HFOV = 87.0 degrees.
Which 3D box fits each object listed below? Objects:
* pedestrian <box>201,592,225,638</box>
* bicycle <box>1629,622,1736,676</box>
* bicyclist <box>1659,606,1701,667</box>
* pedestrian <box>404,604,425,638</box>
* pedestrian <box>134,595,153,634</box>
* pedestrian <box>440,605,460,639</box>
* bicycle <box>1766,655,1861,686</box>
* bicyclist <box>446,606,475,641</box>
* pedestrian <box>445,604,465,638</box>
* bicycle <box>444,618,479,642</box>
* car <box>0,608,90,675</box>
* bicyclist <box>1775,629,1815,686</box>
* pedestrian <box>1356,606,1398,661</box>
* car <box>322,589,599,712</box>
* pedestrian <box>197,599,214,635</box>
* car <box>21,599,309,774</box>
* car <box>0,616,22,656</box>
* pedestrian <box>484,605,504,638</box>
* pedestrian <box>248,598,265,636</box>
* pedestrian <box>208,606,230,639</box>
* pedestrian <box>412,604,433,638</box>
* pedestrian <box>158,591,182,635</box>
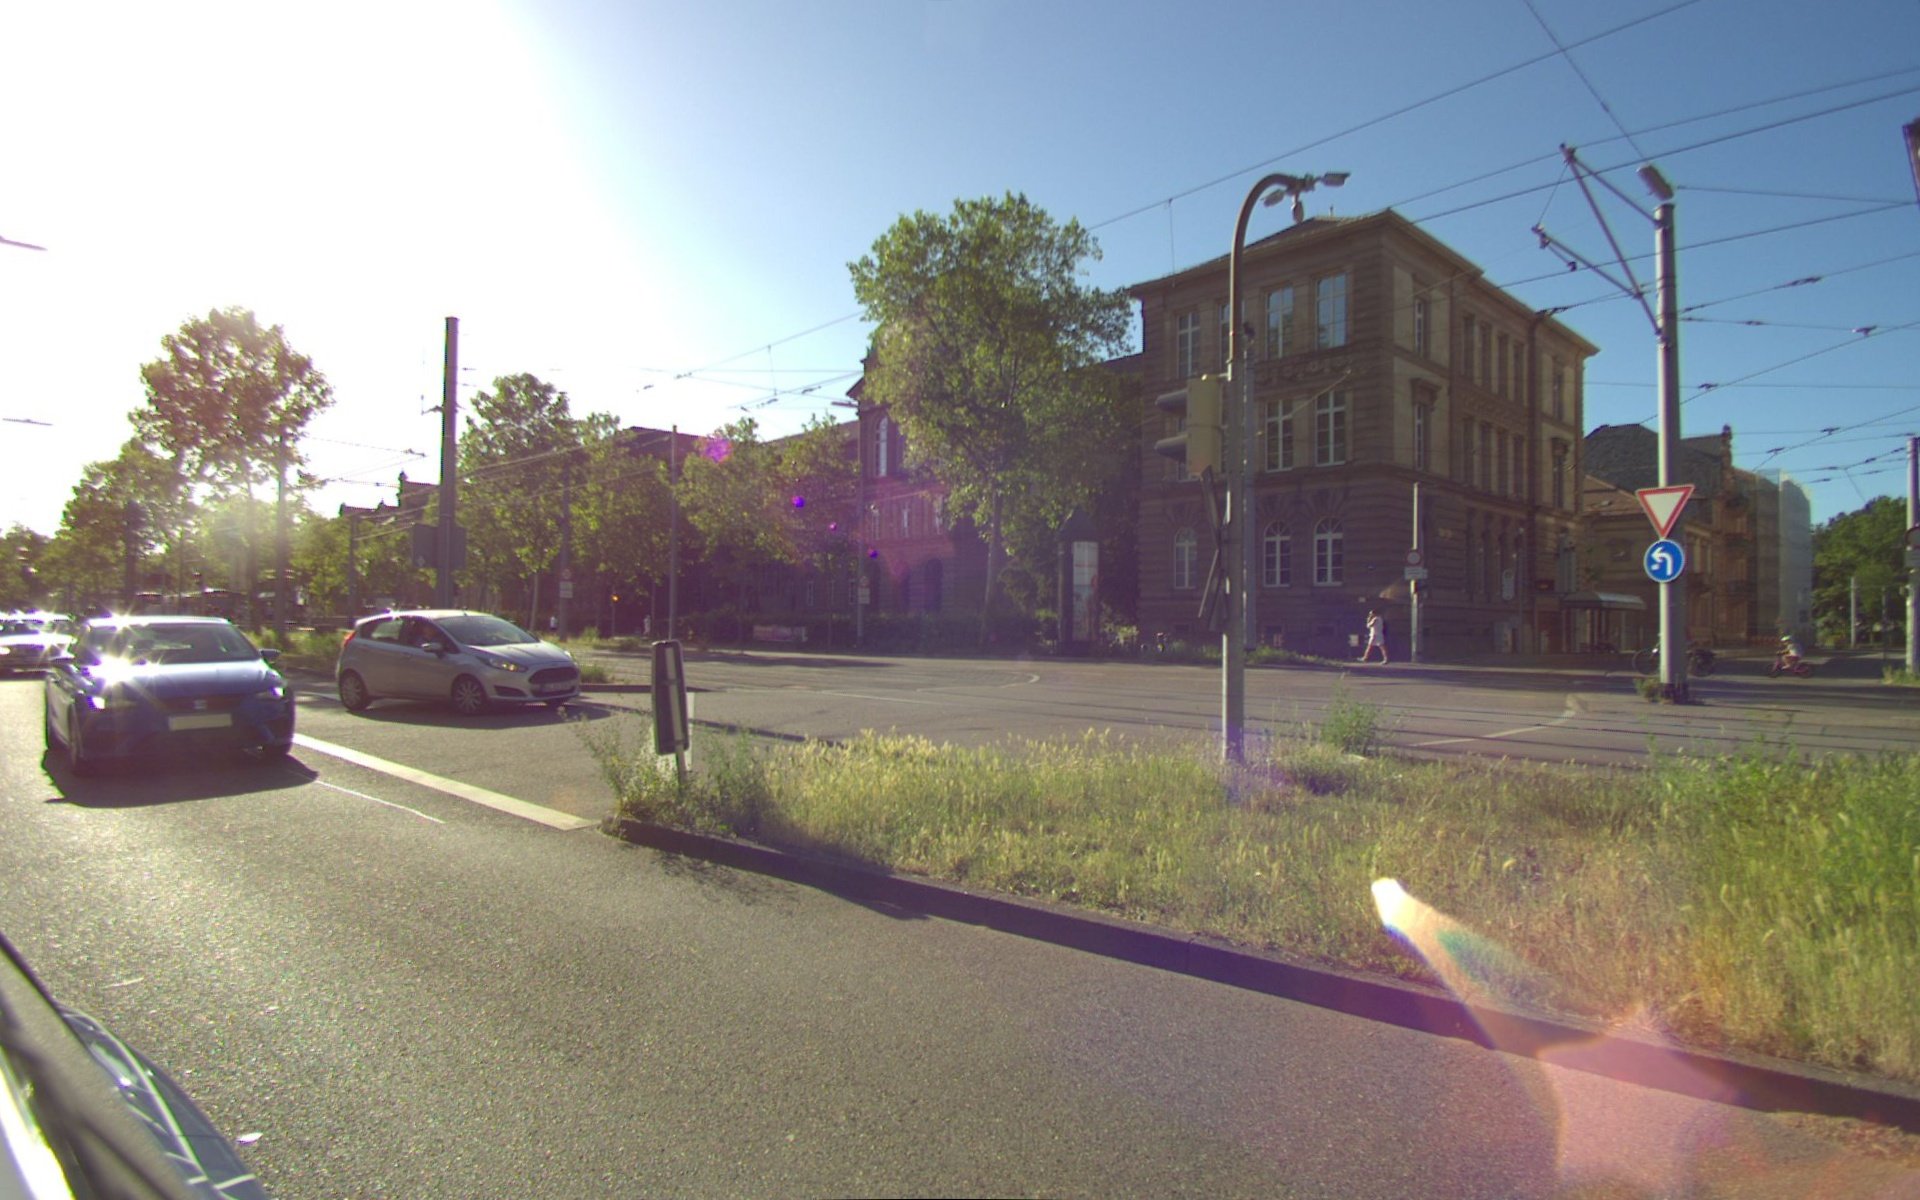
[{"bbox_3d":[-29.697,0.600,40.238,0.503,1.820,0.639,0,1,36],"label":"pedestrian"},{"bbox_3d":[19.871,1.326,27.892,2.341,1.399,0.521,0,1,30],"label":"bicycle"},{"bbox_3d":[19.863,0.999,27.937,0.867,1.636,0.669,-1,-1,29],"label":"bicyclist"},{"bbox_3d":[-27.927,1.068,51.797,0.693,1.758,0.591,-1,1,14],"label":"pedestrian"},{"bbox_3d":[-43.165,0.768,53.486,0.701,2.029,0.788,-1,1,-42],"label":"pedestrian"},{"bbox_3d":[-25.405,1.075,50.409,0.692,1.656,0.592,-1,1,10],"label":"pedestrian"},{"bbox_3d":[22.884,1.887,27.168,1.895,0.727,0.520,0,1,33],"label":"bicycle"},{"bbox_3d":[-23.958,1.120,48.551,0.827,1.656,0.964,-1,1,14],"label":"bicyclist"},{"bbox_3d":[-25.725,1.066,51.535,0.693,1.749,0.591,-1,1,14],"label":"pedestrian"},{"bbox_3d":[-23.928,1.427,48.591,0.539,1.049,1.656,0,1,15],"label":"bicycle"},{"bbox_3d":[-22.176,0.939,24.281,1.773,1.439,4.004,-1,1,-43],"label":"car"},{"bbox_3d":[22.529,1.526,27.326,0.728,1.473,0.788,0,1,32],"label":"bicyclist"},{"bbox_3d":[14.076,1.110,34.164,0.852,1.814,1.003,-1,1,-42],"label":"pedestrian"},{"bbox_3d":[-7.364,0.675,14.898,3.842,1.607,1.653,-1,1,26],"label":"car"},{"bbox_3d":[-35.073,0.774,47.045,0.571,1.674,0.668,-1,1,-35],"label":"pedestrian"},{"bbox_3d":[-8.391,0.751,10.568,3.868,1.459,1.754,-1,0,43],"label":"car"},{"bbox_3d":[-41.126,1.510,42.840,1.748,1.588,3.830,-1,1,-38],"label":"car"},{"bbox_3d":[-23.363,1.069,50.708,0.693,1.633,0.591,-1,1,14],"label":"pedestrian"},{"bbox_3d":[-31.544,0.745,45.371,0.536,1.674,0.731,-1,1,-39],"label":"pedestrian"},{"bbox_3d":[-29.224,0.882,39.938,0.425,1.242,0.587,0,1,36],"label":"pedestrian"},{"bbox_3d":[-27.041,1.048,50.940,0.693,1.689,0.591,-1,1,14],"label":"pedestrian"},{"bbox_3d":[-40.970,0.661,52.489,0.773,2.204,0.803,-1,1,-23],"label":"pedestrian"}]
